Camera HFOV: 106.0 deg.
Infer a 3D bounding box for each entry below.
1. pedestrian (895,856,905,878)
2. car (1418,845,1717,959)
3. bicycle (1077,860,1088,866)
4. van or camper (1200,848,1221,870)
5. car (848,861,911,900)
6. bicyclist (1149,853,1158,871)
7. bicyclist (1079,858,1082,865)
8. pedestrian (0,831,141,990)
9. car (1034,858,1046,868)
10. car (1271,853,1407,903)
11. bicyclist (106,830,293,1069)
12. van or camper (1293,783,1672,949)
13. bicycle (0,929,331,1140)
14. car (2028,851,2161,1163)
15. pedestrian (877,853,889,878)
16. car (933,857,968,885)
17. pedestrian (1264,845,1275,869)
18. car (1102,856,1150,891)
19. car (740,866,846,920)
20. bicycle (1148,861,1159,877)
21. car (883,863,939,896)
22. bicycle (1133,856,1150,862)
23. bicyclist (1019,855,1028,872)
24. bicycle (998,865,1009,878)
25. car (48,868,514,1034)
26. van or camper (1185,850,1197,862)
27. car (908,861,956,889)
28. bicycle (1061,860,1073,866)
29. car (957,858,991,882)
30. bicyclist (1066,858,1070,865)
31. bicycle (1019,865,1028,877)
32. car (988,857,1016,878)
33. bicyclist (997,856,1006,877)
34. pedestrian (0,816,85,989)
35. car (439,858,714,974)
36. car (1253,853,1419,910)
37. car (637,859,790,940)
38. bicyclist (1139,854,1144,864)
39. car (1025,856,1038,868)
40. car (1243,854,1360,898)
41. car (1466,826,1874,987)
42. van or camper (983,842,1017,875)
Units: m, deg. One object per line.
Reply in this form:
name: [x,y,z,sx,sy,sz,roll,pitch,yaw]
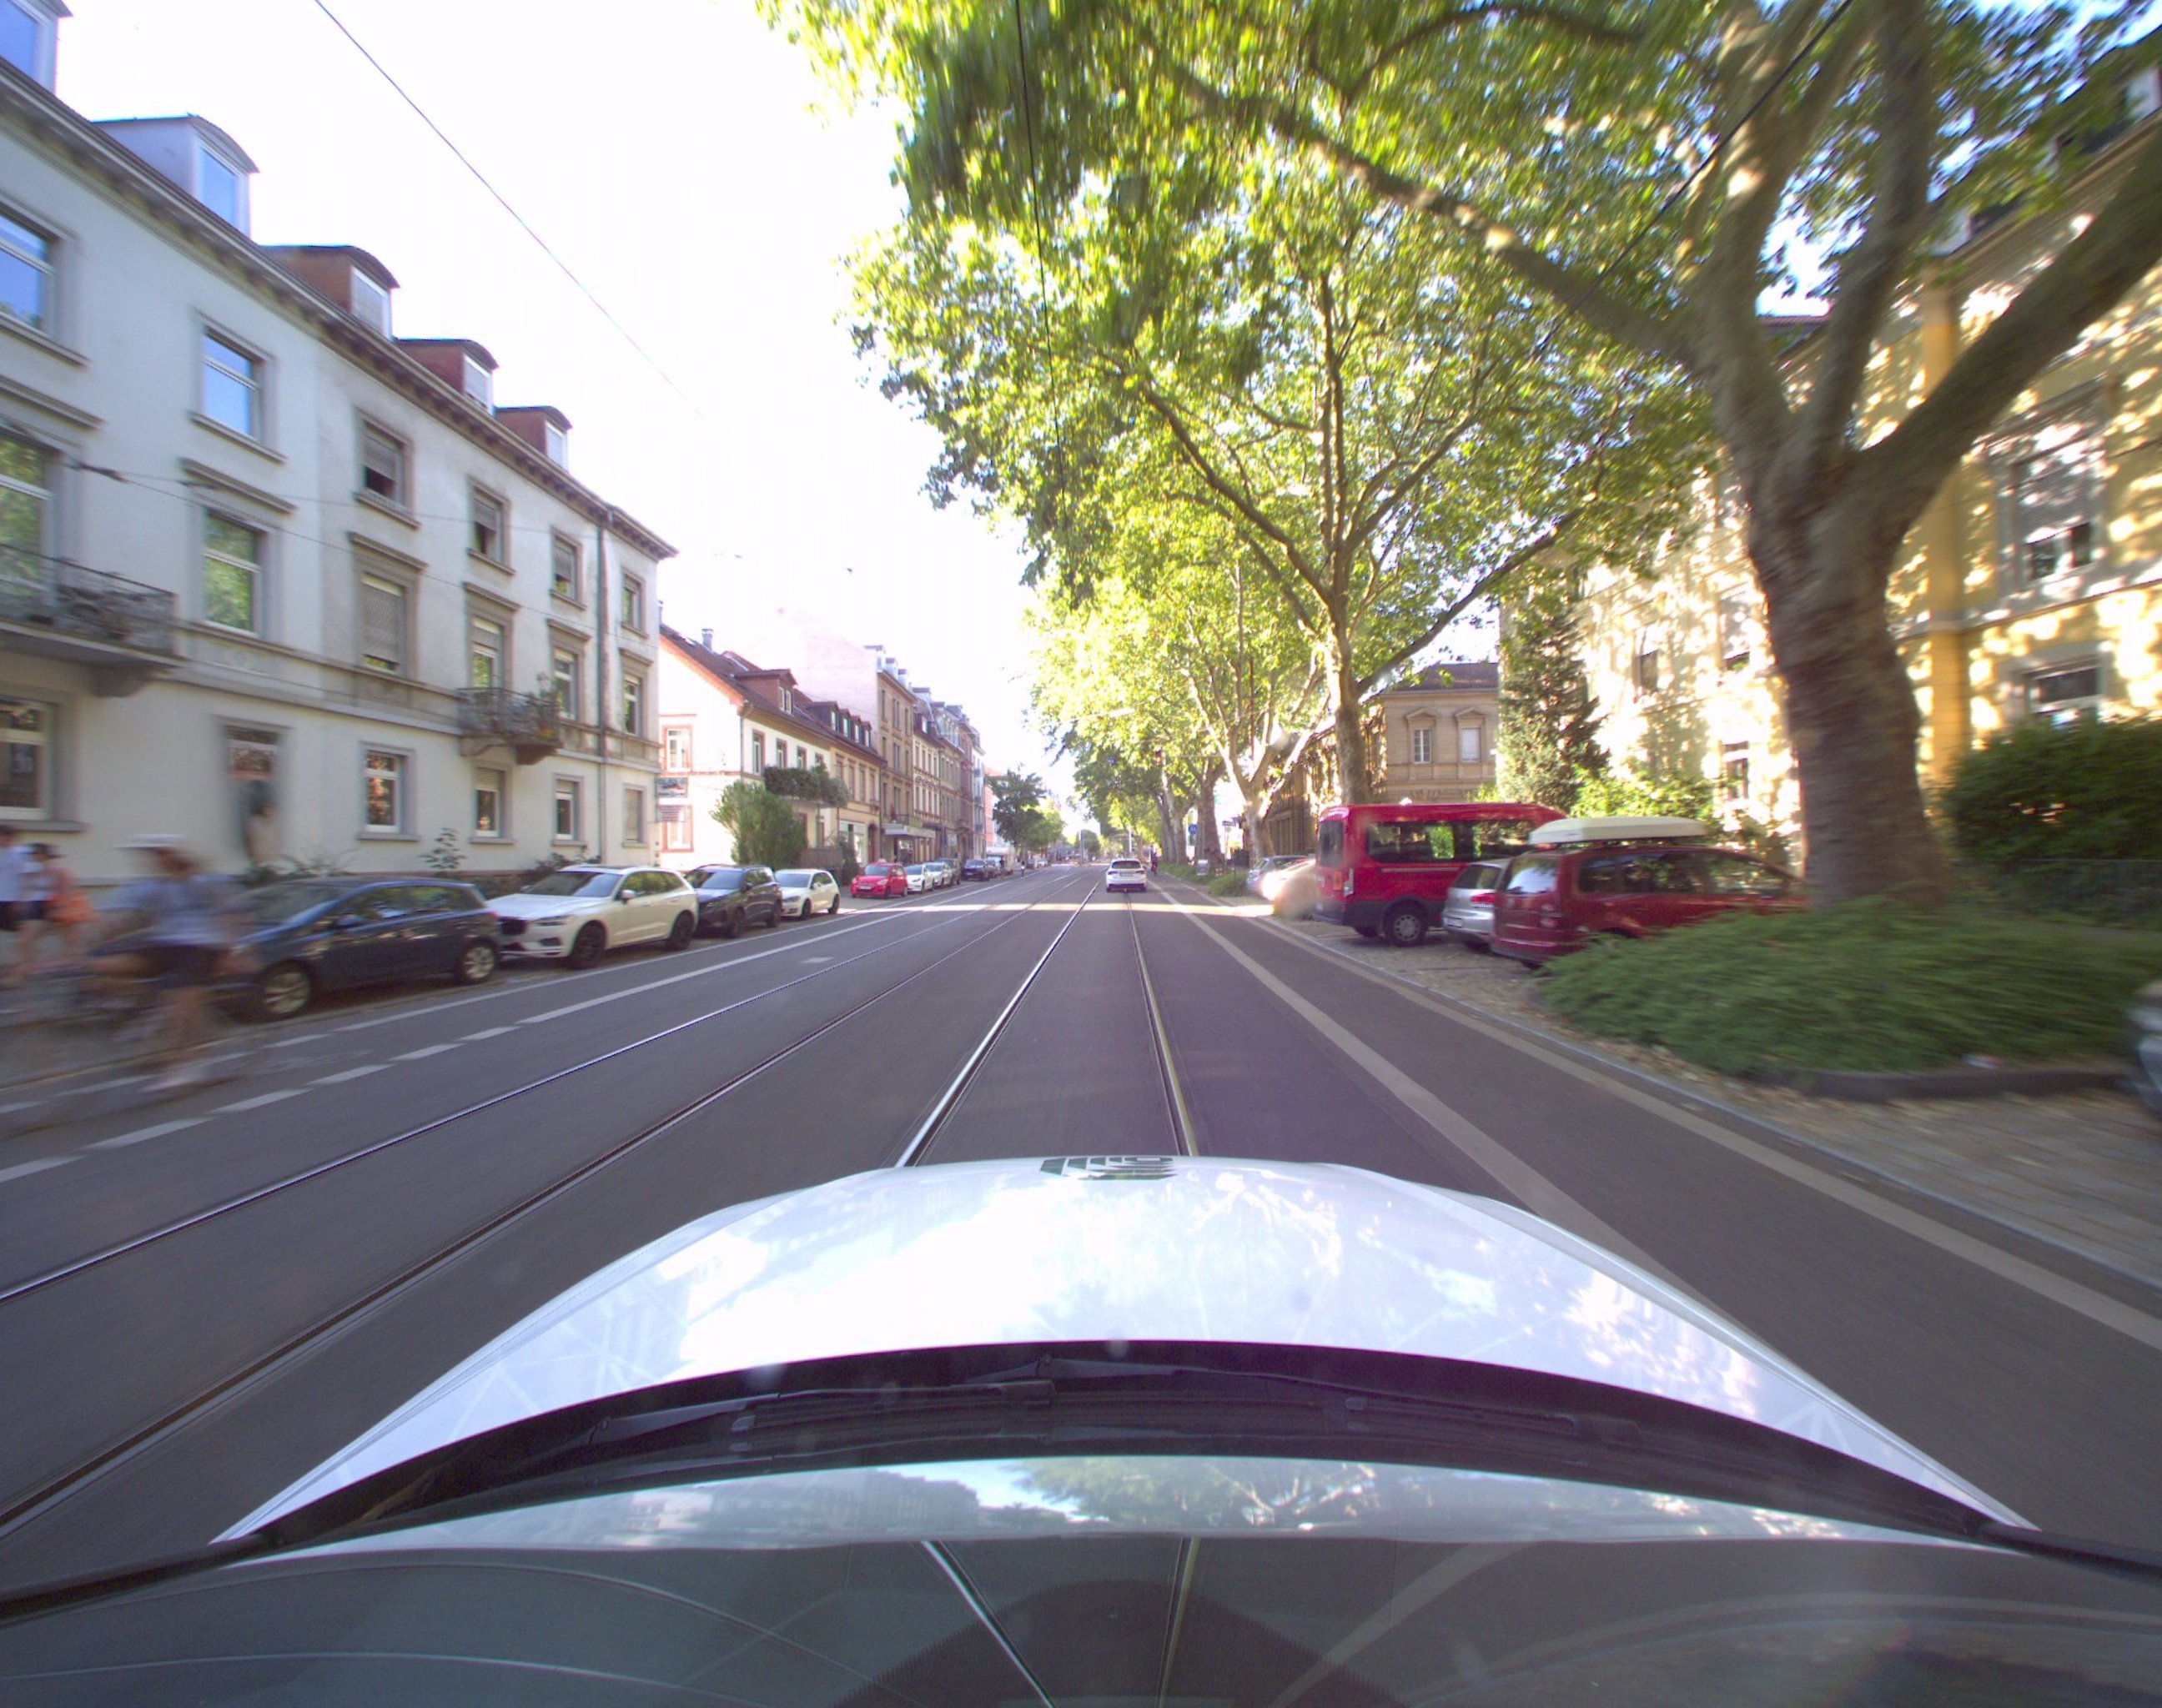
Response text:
pedestrian: [-11.818,0.845,53.122,0.636,1.460,0.654,0,-1,-15]
car: [7.527,0.703,12.834,3.724,1.530,1.668,-2,0,-2]
bicycle: [0.348,2.187,189.063,2.699,1.327,0.609,-1,-1,-33]
van or camper: [15.113,0.587,95.379,2.018,2.464,5.113,0,-1,4]
car: [-8.754,1.129,35.669,1.561,1.562,3.454,-1,0,5]
bicyclist: [5.511,0.598,61.903,0.676,1.339,0.525,0,-1,1]
bicyclist: [-0.113,1.809,188.792,0.635,1.522,0.603,-2,0,-33]
pedestrian: [-12.208,0.655,9.823,0.757,1.821,0.829,-1,-1,-2]
car: [-7.234,1.585,144.273,1.788,1.726,3.784,0,0,0]
car: [8.180,0.748,25.966,3.744,1.387,1.679,-3,0,-5]
bicyclist: [-6.445,0.657,5.994,0.471,1.636,0.800,-1,-1,2]
van or camper: [7.133,0.182,14.975,5.798,2.519,2.287,-3,0,-1]
bicycle: [-6.456,1.165,5.782,0.479,1.086,1.847,-1,0,2]
car: [7.176,0.689,3.718,3.657,1.523,1.694,-3,0,1]
pedestrian: [-12.843,0.751,52.789,0.773,1.634,0.654,0,-1,-14]
car: [-8.089,1.030,50.831,1.550,1.732,3.686,0,0,1]
pedestrian: [12.940,0.177,55.805,0.642,1.633,0.876,0,-1,21]
car: [1.913,0.826,35.629,1.837,1.480,3.837,0,-1,-1]
car: [-8.832,1.154,25.342,1.680,1.477,4.259,0,0,1]
bicycle: [5.496,1.136,61.921,0.677,1.155,2.965,0,-1,2]
car: [-8.488,1.239,41.046,1.821,1.502,4.687,0,0,-1]
bicycle: [9.939,0.759,133.617,2.749,0.999,0.595,0,-1,16]
bicyclist: [-4.950,0.815,70.029,0.635,1.503,1.070,-2,-1,3]
bicycle: [-6.320,1.417,66.348,0.482,1.047,2.041,-3,0,3]
car: [-9.095,0.972,9.815,1.547,1.515,3.928,-1,0,4]
van or camper: [21.662,0.319,160.450,1.986,2.343,4.002,0,-1,2]
car: [-8.416,1.157,46.293,1.821,1.502,4.450,0,0,1]
bicycle: [-3.254,2.163,186.960,2.699,1.327,0.609,-1,-1,-33]
car: [-8.195,1.196,62.727,1.958,1.781,4.936,2,0,0]
bicyclist: [-3.055,1.744,187.091,0.635,1.522,0.603,-2,0,-33]
bicycle: [-4.913,1.450,70.116,0.497,0.943,1.923,-3,0,3]
car: [-6.881,1.168,71.311,1.958,1.781,4.470,0,0,0]
bicyclist: [-6.467,1.014,66.301,0.533,1.634,0.897,-3,-1,3]
pedestrian: [-13.021,0.575,9.917,0.757,2.014,0.830,-1,-1,-1]
car: [-8.753,0.958,14.773,1.849,1.703,4.765,-1,0,2]
car: [7.356,0.782,23.804,4.268,1.417,1.761,-3,0,2]
car: [-8.836,1.001,20.058,1.853,1.703,4.653,-1,0,-4]
bicyclist: [9.904,0.867,133.626,0.731,1.589,0.589,-1,-1,14]
car: [-7.312,1.236,120.470,1.636,1.726,3.784,0,0,0]
car: [7.770,0.767,28.933,3.737,1.508,1.682,0,0,1]
car: [7.177,0.617,10.223,3.808,1.649,1.766,-3,-2,-2]
van or camper: [-7.957,0.447,80.619,2.207,3.140,7.119,0,0,3]
